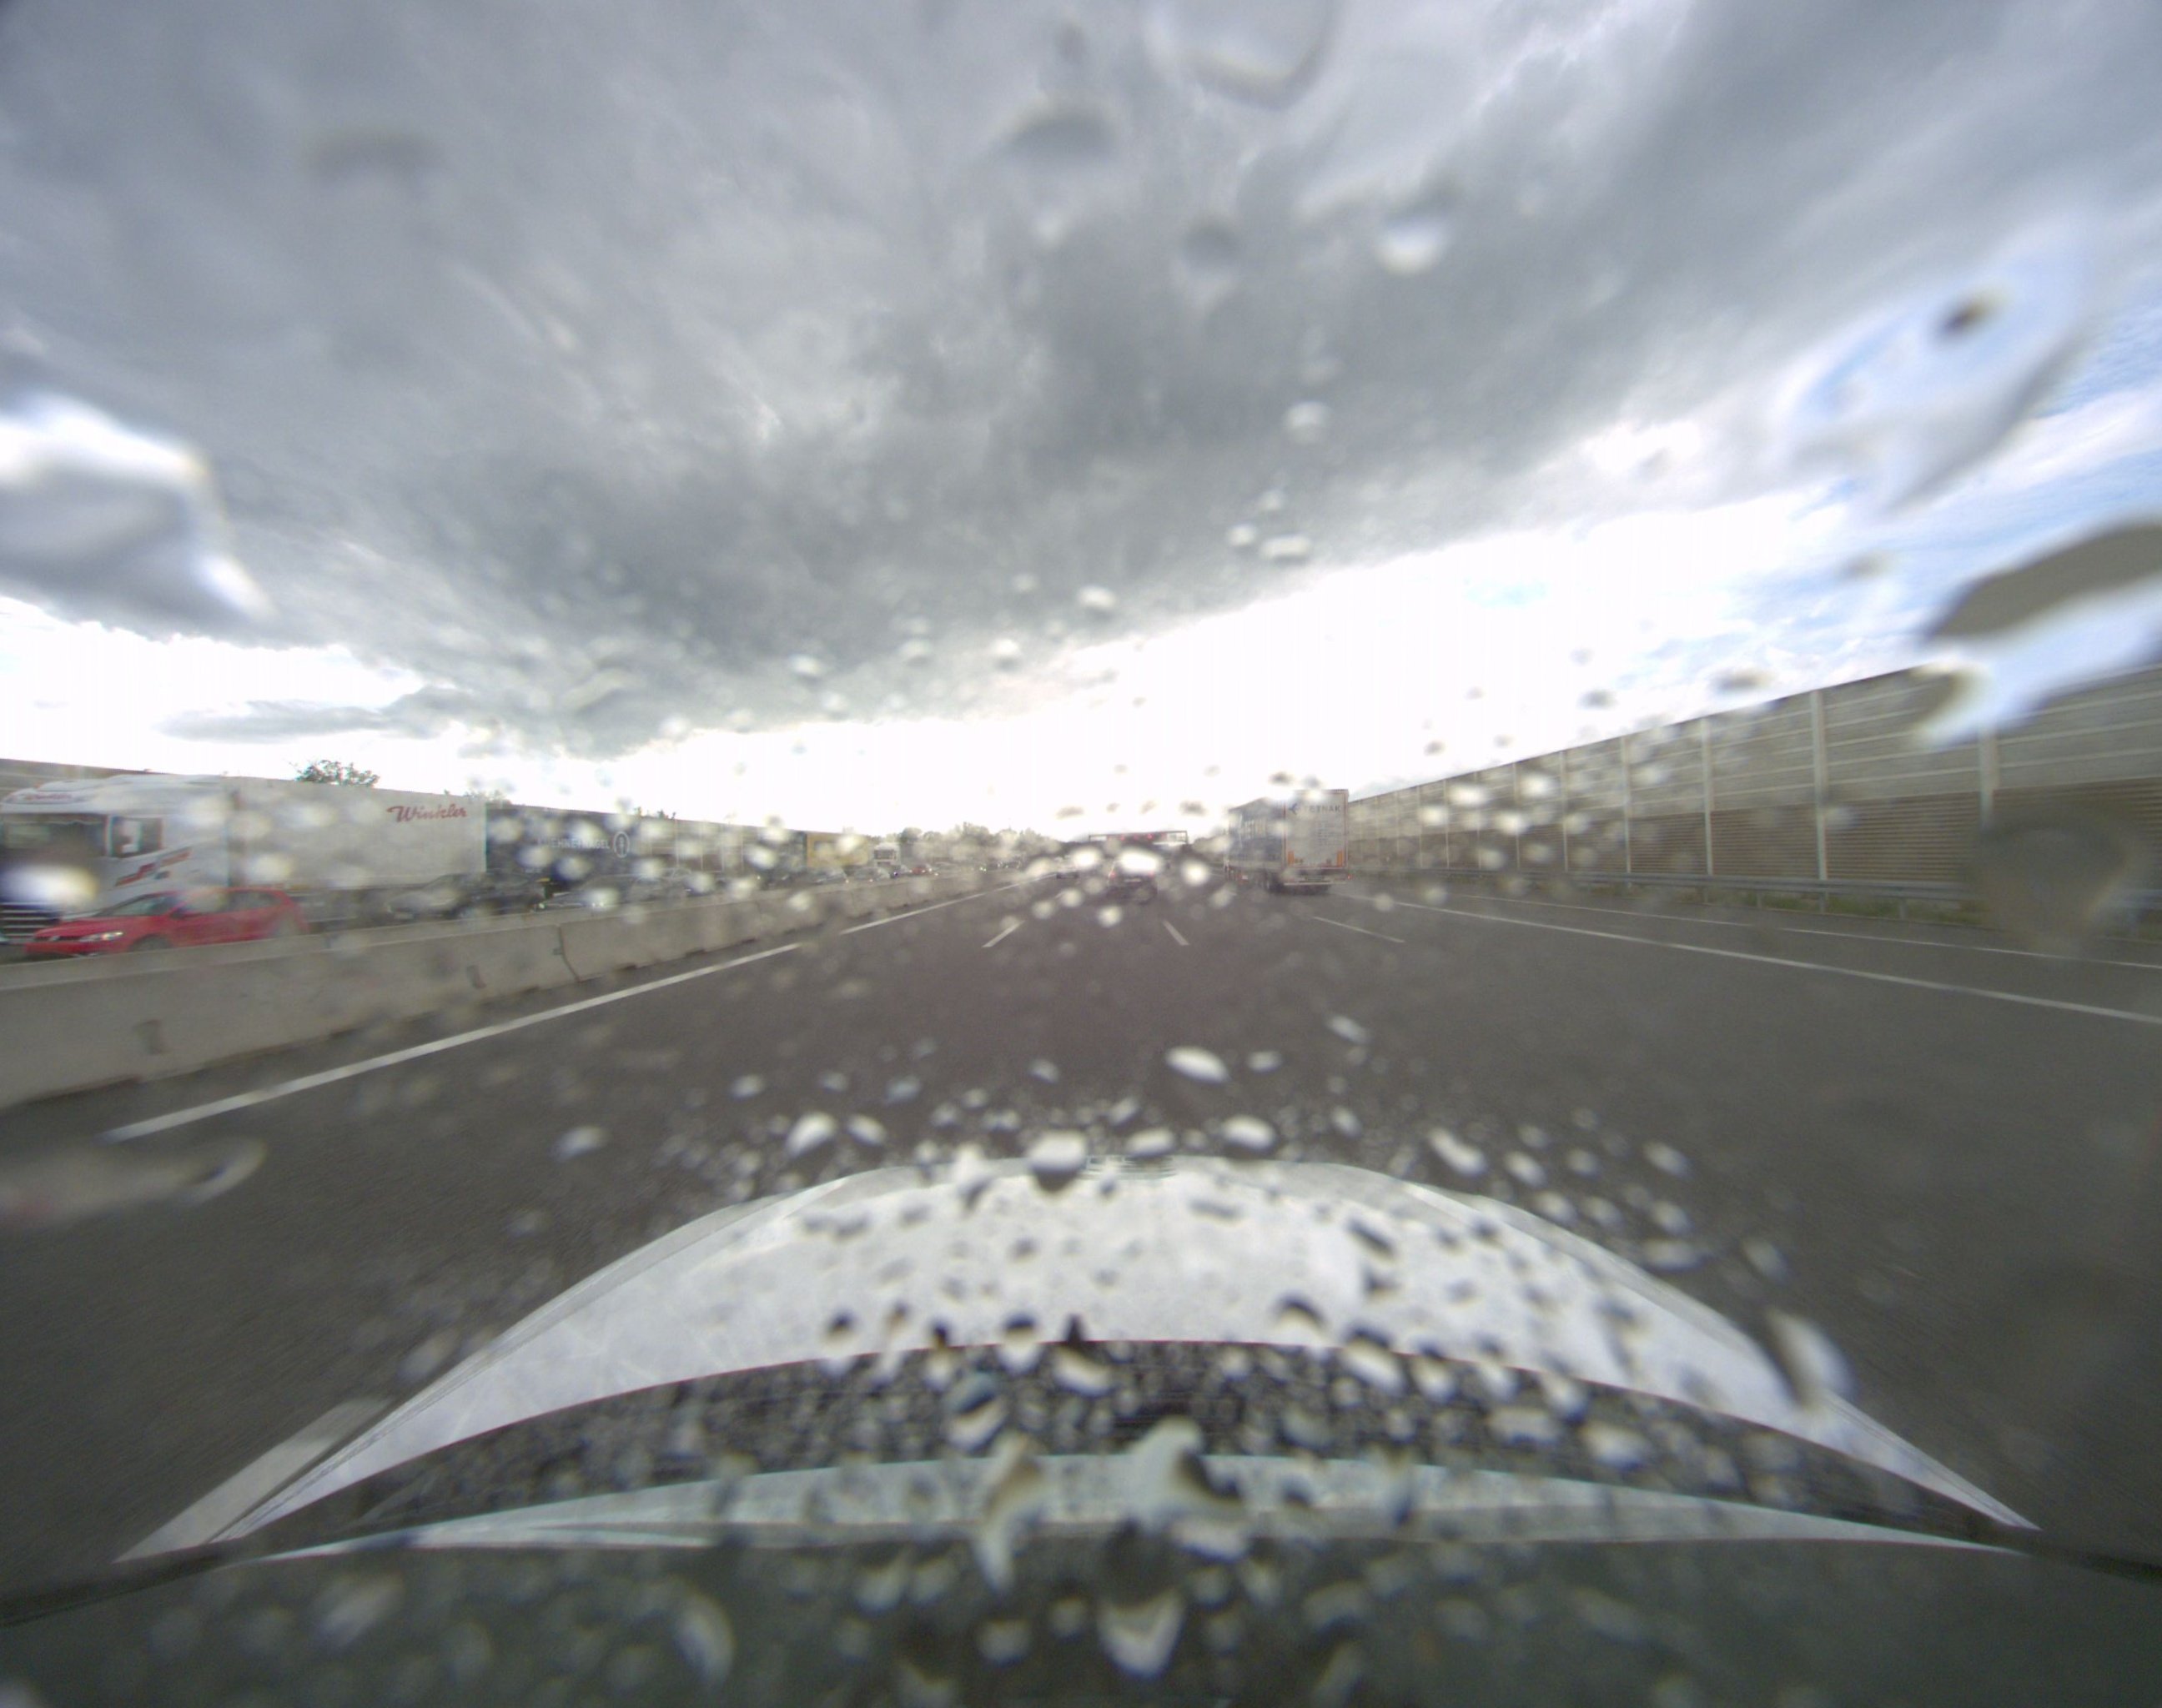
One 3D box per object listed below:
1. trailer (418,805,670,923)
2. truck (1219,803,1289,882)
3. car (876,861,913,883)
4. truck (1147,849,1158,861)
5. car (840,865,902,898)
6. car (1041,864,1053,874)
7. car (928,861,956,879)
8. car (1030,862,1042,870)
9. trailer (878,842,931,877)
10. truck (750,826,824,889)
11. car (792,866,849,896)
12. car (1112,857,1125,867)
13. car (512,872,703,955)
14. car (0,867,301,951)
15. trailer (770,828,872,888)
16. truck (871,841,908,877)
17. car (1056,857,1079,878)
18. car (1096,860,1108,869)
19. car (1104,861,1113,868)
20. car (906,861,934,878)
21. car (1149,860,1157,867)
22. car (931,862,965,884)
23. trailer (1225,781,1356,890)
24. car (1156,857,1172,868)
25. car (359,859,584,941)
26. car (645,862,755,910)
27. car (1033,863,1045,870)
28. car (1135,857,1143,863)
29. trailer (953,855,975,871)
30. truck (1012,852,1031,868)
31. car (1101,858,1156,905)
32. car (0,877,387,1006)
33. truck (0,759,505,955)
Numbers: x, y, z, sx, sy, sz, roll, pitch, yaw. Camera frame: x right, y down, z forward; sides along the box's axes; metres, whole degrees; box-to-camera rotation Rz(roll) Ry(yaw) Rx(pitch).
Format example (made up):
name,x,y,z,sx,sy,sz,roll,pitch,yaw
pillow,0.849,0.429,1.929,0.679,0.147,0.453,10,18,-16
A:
name,x,y,z,sx,sy,sz,roll,pitch,yaw
trailer,-20.801,0.338,32.716,2.919,3.939,10.126,-1,0,3
truck,9.370,-0.565,44.753,2.734,4.035,5.728,-1,-1,2
car,-15.872,1.521,69.561,2.053,1.699,4.411,-1,0,1
truck,22.100,0.279,251.597,3.137,3.602,12.716,0,0,5
car,-12.490,1.570,48.860,2.053,1.755,5.809,-1,0,1
car,-6.607,2.942,159.033,1.866,1.699,4.224,-1,0,2
car,-14.768,1.676,86.690,2.053,1.816,4.779,-1,0,1
car,-9.766,2.627,178.123,2.052,1.600,5.001,-1,-1,3
trailer,-22.017,0.654,102.648,2.749,4.032,14.464,-1,-1,3
truck,-19.924,0.261,55.563,2.734,4.035,5.728,-1,-1,2
car,-16.379,1.680,51.423,2.053,1.699,4.411,-1,0,1
car,6.818,1.489,147.973,1.958,1.561,4.439,-2,-2,5
car,-13.542,1.596,23.886,2.053,2.002,5.809,-1,0,1
car,-25.389,1.384,22.468,2.053,1.892,5.809,-1,0,1
trailer,-19.654,0.329,62.969,2.751,4.032,14.458,-1,-1,2
truck,-22.444,0.627,95.697,2.733,4.035,5.730,-1,-1,3
car,-1.066,1.073,66.450,1.711,1.624,4.279,-1,0,1
car,3.864,1.883,150.585,1.958,1.561,4.439,-2,-2,5
car,7.180,2.706,209.752,1.958,1.561,4.439,-2,-2,5
car,-18.241,1.737,92.546,2.053,1.816,4.779,-1,0,1
car,17.779,2.324,200.112,1.873,1.561,4.439,-2,-2,5
car,-11.445,1.614,70.393,2.053,1.699,4.411,-1,0,1
trailer,9.133,-0.622,37.769,2.751,4.032,14.458,-1,-1,2
car,11.814,1.261,116.627,1.942,1.418,4.233,-2,-1,1
car,-17.369,1.194,23.736,2.053,2.002,5.809,-1,0,1
car,-16.865,1.349,36.484,2.053,1.892,5.809,-1,0,1
car,-9.132,2.724,177.985,2.050,1.491,5.004,-2,-1,5
car,15.777,1.728,223.053,1.957,1.561,4.441,-1,0,7
trailer,-19.905,1.490,138.463,2.449,2.495,6.090,-1,0,3
truck,-12.941,1.294,177.259,2.684,3.527,10.006,0,0,4
car,1.549,0.889,28.100,1.711,1.417,4.279,-1,0,1
car,-17.877,1.577,16.765,2.053,2.002,5.809,-1,0,1
truck,-21.292,0.085,22.111,2.926,3.945,11.074,-1,0,3
